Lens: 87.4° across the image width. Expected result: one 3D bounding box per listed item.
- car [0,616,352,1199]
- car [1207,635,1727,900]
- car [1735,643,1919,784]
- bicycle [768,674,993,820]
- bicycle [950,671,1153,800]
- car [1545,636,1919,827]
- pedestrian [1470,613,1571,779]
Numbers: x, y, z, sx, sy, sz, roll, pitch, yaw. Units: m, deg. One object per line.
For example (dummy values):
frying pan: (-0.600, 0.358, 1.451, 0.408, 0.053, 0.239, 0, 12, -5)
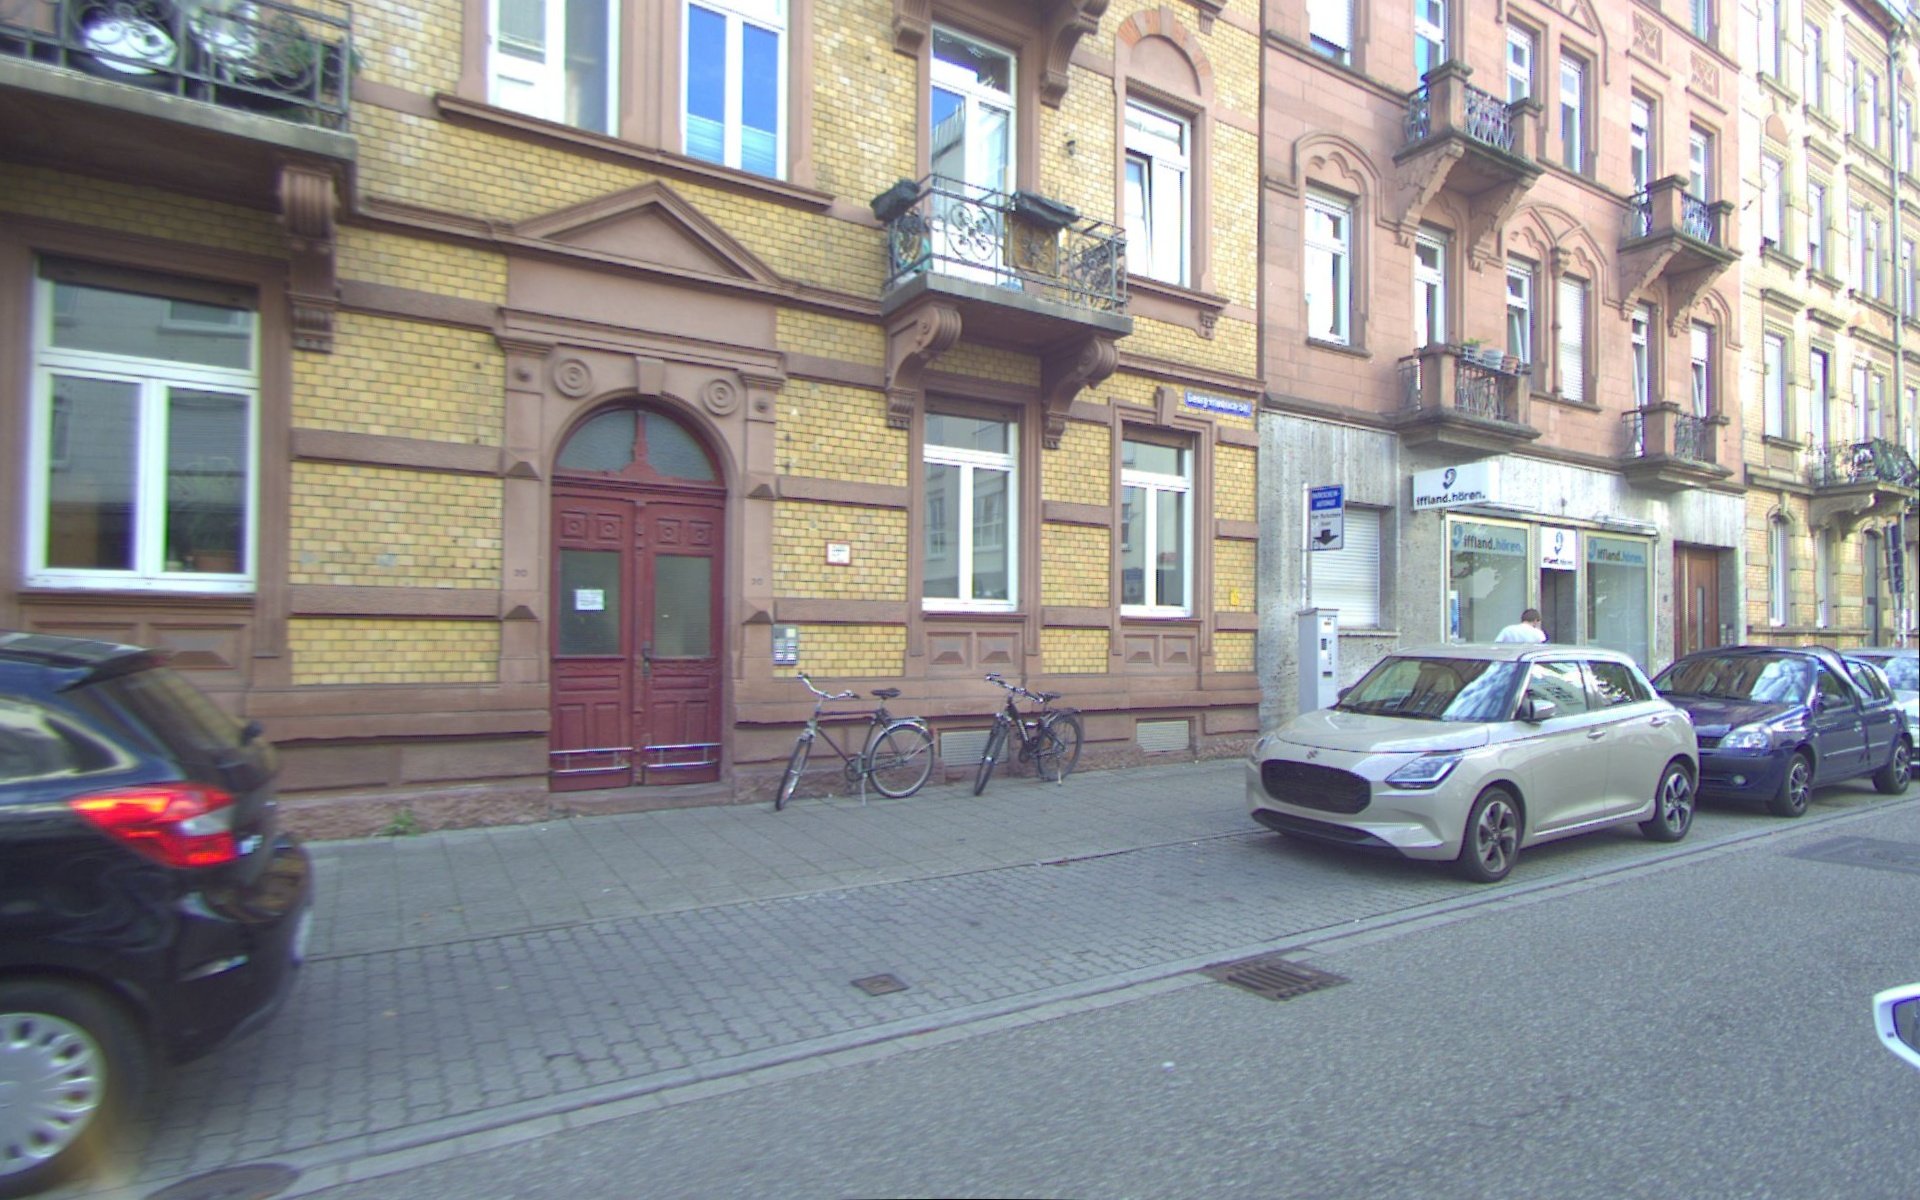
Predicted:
car: (-4.007, 0.782, 2.703, 3.936, 1.503, 1.734, 2, -1, -30)
car: (3.944, 1.045, 7.667, 3.938, 1.503, 1.733, 1, -1, -31)
car: (11.320, 1.268, 12.277, 3.823, 1.405, 1.681, 1, -1, -31)
bicycle: (-0.680, 1.219, 8.715, 1.751, 1.051, 0.850, 1, 0, -31)
bicycle: (0.887, 1.249, 9.664, 1.751, 1.051, 0.893, 1, -1, -31)
car: (7.768, 1.137, 9.961, 3.938, 1.503, 1.733, 1, -1, -31)
pedestrian: (6.503, 1.078, 11.657, 0.765, 1.814, 0.725, 1, 2, -38)
